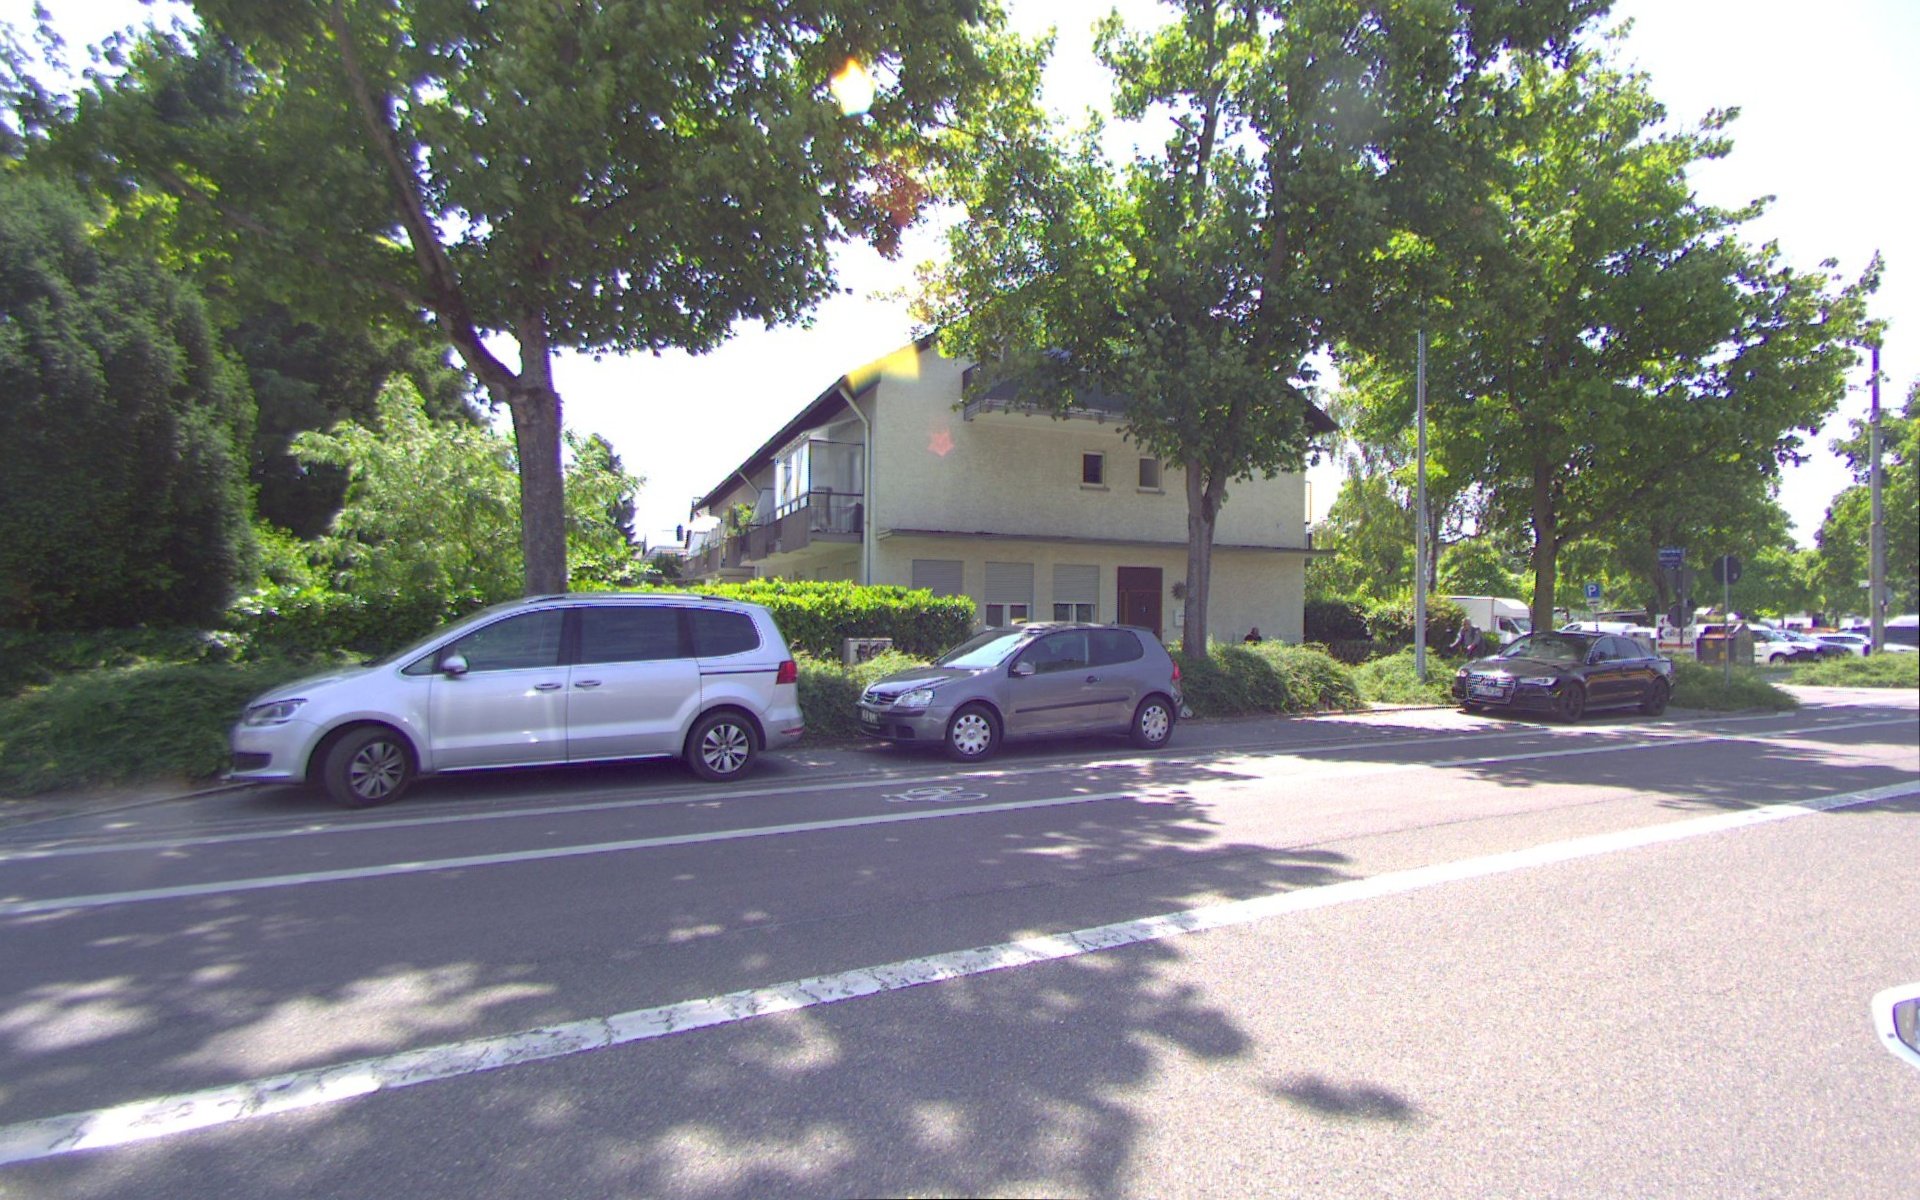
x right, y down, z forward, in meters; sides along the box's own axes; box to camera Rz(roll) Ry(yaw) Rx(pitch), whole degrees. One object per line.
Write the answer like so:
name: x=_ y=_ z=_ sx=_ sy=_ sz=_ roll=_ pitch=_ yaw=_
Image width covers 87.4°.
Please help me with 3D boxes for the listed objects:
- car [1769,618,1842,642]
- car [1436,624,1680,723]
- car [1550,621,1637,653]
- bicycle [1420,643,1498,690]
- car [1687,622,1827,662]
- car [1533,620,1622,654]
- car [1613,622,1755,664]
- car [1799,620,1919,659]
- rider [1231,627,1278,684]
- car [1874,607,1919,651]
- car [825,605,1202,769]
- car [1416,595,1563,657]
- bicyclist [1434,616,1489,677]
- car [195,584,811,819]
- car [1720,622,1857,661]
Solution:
car: x=66.357 y=2.347 z=78.872 sx=1.795 sy=1.638 sz=4.000 roll=2 pitch=1 yaw=-30
car: x=10.586 y=1.211 z=17.710 sx=4.397 sy=1.496 sz=1.809 roll=1 pitch=1 yaw=-31
car: x=37.420 y=2.175 z=59.423 sx=1.799 sy=1.675 sz=3.957 roll=2 pitch=1 yaw=-37
bicycle: x=11.971 y=1.598 z=24.082 sx=1.805 sy=1.043 sz=0.698 roll=2 pitch=1 yaw=-27
car: x=33.948 y=1.742 z=42.936 sx=1.886 sy=1.606 sz=4.332 roll=1 pitch=-1 yaw=-24
car: x=35.572 y=2.108 z=57.923 sx=1.799 sy=1.675 sz=3.957 roll=2 pitch=1 yaw=-37
car: x=29.394 y=1.721 z=40.902 sx=1.891 sy=1.606 sz=4.321 roll=1 pitch=-1 yaw=-31
car: x=43.191 y=1.872 z=48.292 sx=1.975 sy=1.769 sz=3.968 roll=1 pitch=-1 yaw=-30
rider: x=7.393 y=1.380 z=25.271 sx=0.800 sy=1.392 sz=0.824 roll=1 pitch=-1 yaw=-22
car: x=52.254 y=1.626 z=53.227 sx=2.349 sy=2.274 sz=5.076 roll=2 pitch=1 yaw=-28
car: x=0.684 y=0.906 z=11.857 sx=4.132 sy=1.585 sz=1.809 roll=1 pitch=1 yaw=-31
car: x=28.693 y=1.346 z=54.745 sx=2.337 sy=3.005 sz=6.816 roll=2 pitch=1 yaw=-30
bicyclist: x=11.996 y=1.102 z=24.054 sx=0.817 sy=1.392 sz=0.806 roll=2 pitch=1 yaw=-27
car: x=-3.932 y=0.757 z=9.247 sx=4.725 sy=1.687 sz=1.863 roll=1 pitch=0 yaw=-31
car: x=36.370 y=1.789 z=44.228 sx=1.886 sy=1.606 sz=4.333 roll=1 pitch=-1 yaw=-23
